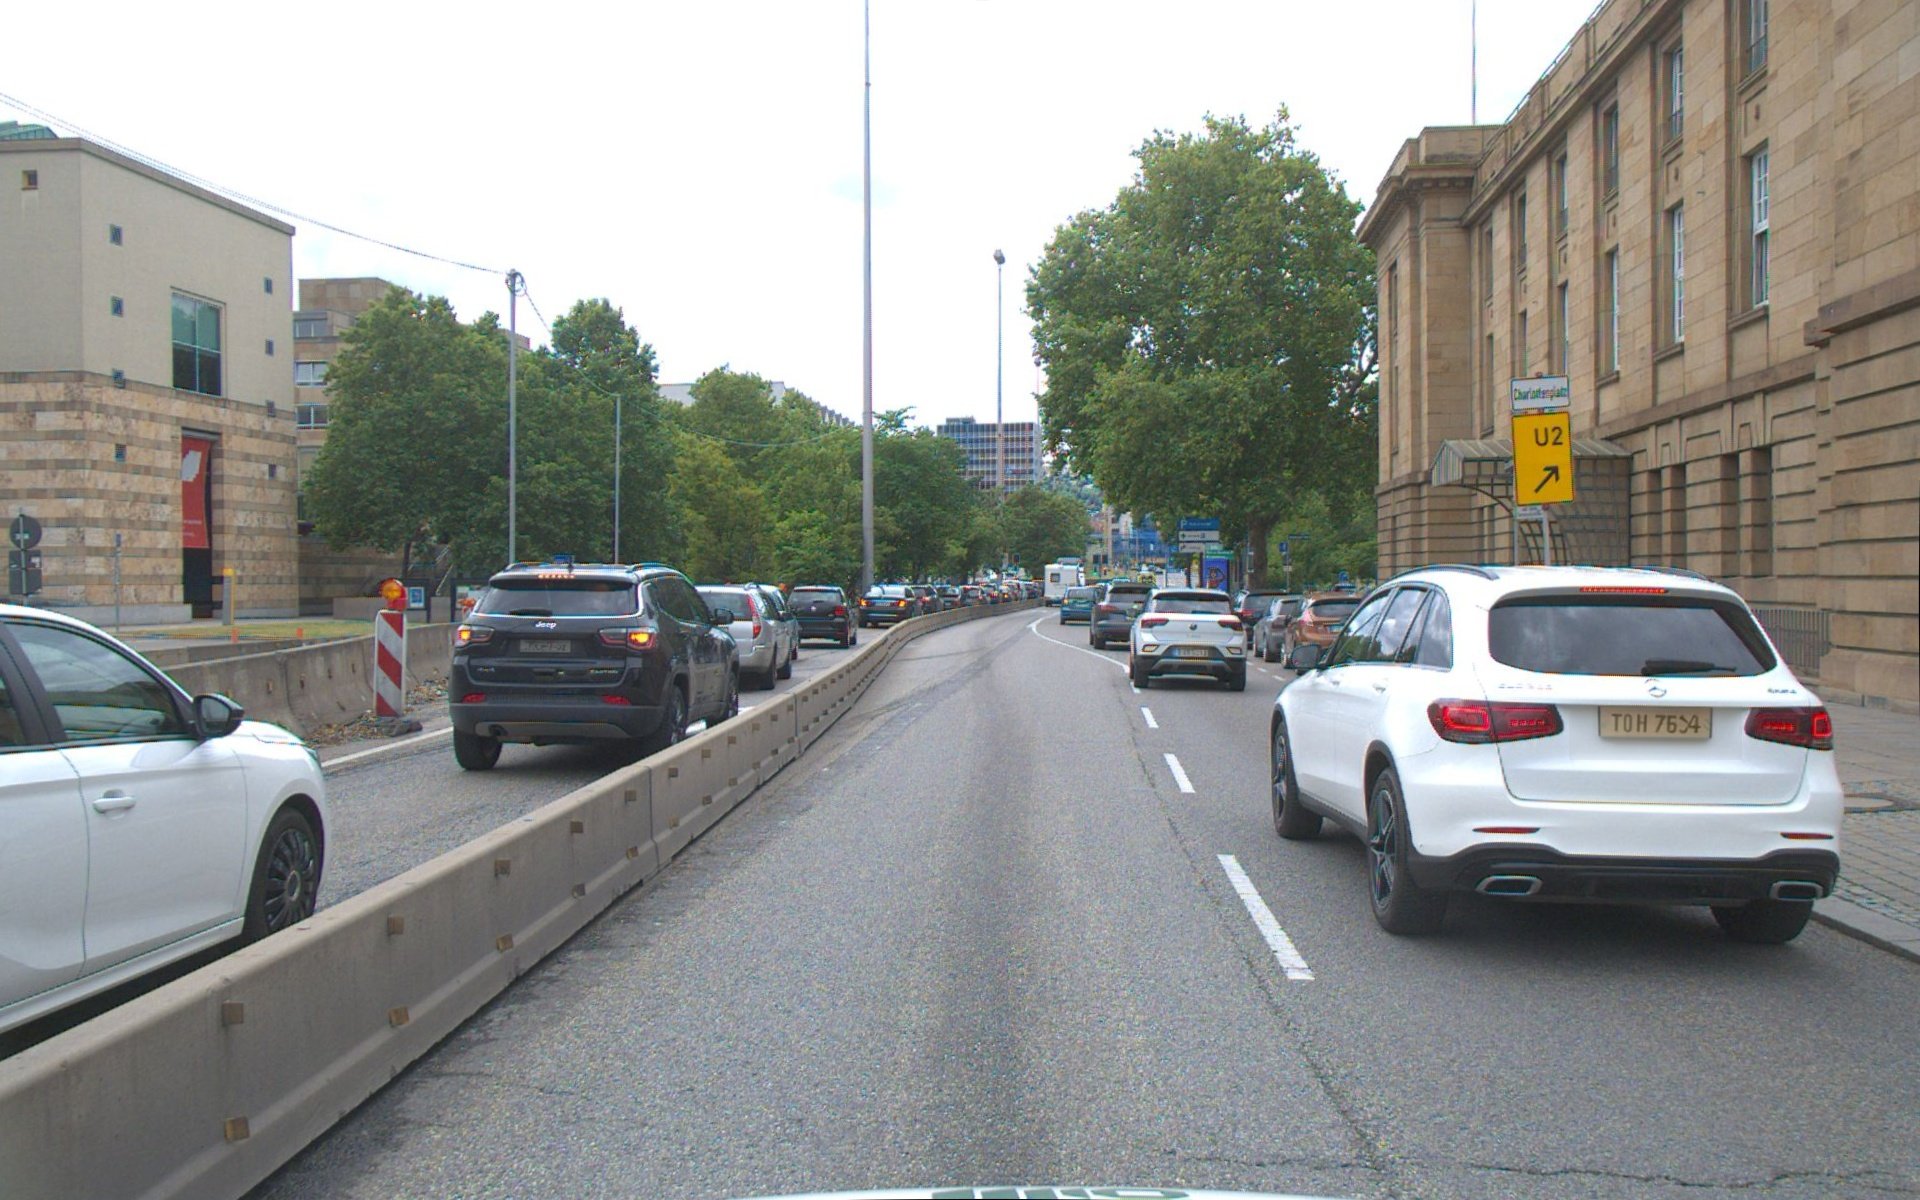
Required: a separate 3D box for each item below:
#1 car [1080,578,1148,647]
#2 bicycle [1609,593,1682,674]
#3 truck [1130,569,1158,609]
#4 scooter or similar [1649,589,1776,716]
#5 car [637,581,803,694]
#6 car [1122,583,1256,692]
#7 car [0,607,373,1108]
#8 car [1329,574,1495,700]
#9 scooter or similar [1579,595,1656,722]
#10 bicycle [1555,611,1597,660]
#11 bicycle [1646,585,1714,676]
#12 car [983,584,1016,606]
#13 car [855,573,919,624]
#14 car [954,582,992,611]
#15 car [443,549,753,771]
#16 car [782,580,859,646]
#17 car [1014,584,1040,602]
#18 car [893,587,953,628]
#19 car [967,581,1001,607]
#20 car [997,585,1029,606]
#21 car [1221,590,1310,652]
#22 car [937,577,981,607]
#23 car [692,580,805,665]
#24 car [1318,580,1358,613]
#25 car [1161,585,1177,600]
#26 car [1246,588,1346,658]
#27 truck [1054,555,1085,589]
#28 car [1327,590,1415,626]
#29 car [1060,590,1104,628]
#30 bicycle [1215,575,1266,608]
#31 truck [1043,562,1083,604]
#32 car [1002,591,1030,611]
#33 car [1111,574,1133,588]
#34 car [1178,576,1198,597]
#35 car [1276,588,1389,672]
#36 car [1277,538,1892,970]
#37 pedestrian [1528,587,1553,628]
[{"bbox_3d":[3.888,0.290,42.066,1.624,1.668,3.549,0,0,4],"label":"car"},{"bbox_3d":[10.963,0.517,26.507,0.543,1.238,1.917,0,0,6],"label":"bicycle"},{"bbox_3d":[20.076,-1.208,180.615,2.816,4.174,6.642,1,1,6],"label":"truck"},{"bbox_3d":[7.847,0.541,17.303,0.443,1.275,1.364,0,-1,-15],"label":"scooter or similar"},{"bbox_3d":[-3.493,0.500,24.900,1.840,1.507,4.704,1,0,-1],"label":"car"},{"bbox_3d":[3.634,0.544,26.815,1.758,1.636,3.756,0,0,2],"label":"car"},{"bbox_3d":[-3.428,0.704,5.186,1.690,1.319,3.935,1,0,1],"label":"car"},{"bbox_3d":[6.351,0.474,23.594,1.513,1.579,3.710,-3,0,4],"label":"car"},{"bbox_3d":[6.946,0.591,17.512,0.371,1.283,1.404,0,0,5],"label":"scooter or similar"},{"bbox_3d":[11.392,0.643,30.602,0.299,0.859,1.880,0,0,7],"label":"bicycle"},{"bbox_3d":[10.724,0.434,24.673,0.403,1.310,1.791,0,0,6],"label":"bicycle"},{"bbox_3d":[2.444,-0.317,102.387,1.624,1.342,3.550,1,0,8],"label":"car"},{"bbox_3d":[-2.469,-0.061,57.197,1.884,1.664,4.937,1,0,1],"label":"car"},{"bbox_3d":[0.702,-0.174,86.300,1.626,1.461,3.963,1,0,6],"label":"car"},{"bbox_3d":[-2.983,0.452,14.494,1.739,1.649,4.047,1,0,1],"label":"car"},{"bbox_3d":[-3.332,0.285,40.061,1.626,1.479,4.196,1,0,-2],"label":"car"},{"bbox_3d":[5.142,-0.556,126.942,1.624,1.342,3.550,1,0,7],"label":"car"},{"bbox_3d":[-1.422,0.271,65.158,1.778,1.525,4.772,0,0,6],"label":"car"},{"bbox_3d":[1.396,-0.378,94.859,1.738,1.445,4.002,0,1,4],"label":"car"},{"bbox_3d":[3.439,-0.280,107.419,1.624,1.342,3.550,1,0,9],"label":"car"},{"bbox_3d":[7.879,0.504,43.011,1.750,1.512,4.328,1,0,3],"label":"car"},{"bbox_3d":[-0.019,-0.386,77.897,1.642,1.390,4.546,0,1,6],"label":"car"},{"bbox_3d":[-4.050,0.402,32.183,1.638,1.533,3.854,1,0,1],"label":"car"},{"bbox_3d":[20.185,-0.193,88.455,1.723,1.578,4.031,0,3,7],"label":"car"},{"bbox_3d":[23.664,-0.849,187.248,1.721,1.698,4.171,0,1,7],"label":"car"},{"bbox_3d":[7.390,0.479,36.691,1.672,1.451,3.999,-1,0,5],"label":"car"},{"bbox_3d":[10.305,-2.609,155.604,2.635,3.044,5.641,2,0,5],"label":"truck"},{"bbox_3d":[18.855,0.366,76.003,3.754,1.596,1.680,0,0,6],"label":"car"},{"bbox_3d":[4.863,0.337,65.593,1.624,1.438,3.550,1,0,6],"label":"car"},{"bbox_3d":[9.737,-0.290,57.404,1.692,1.110,0.381,2,0,19],"label":"bicycle"},{"bbox_3d":[7.485,-1.219,119.308,2.565,2.911,7.083,1,1,5],"label":"truck"},{"bbox_3d":[3.958,0.081,116.588,1.624,1.342,3.550,1,0,7],"label":"car"},{"bbox_3d":[15.346,-1.791,156.453,1.905,1.342,4.020,1,0,7],"label":"car"},{"bbox_3d":[23.303,-1.389,169.149,1.951,2.049,4.003,1,0,7],"label":"car"},{"bbox_3d":[7.023,0.531,31.468,1.581,1.480,3.861,-1,0,5],"label":"car"},{"bbox_3d":[2.818,0.581,8.579,1.750,1.653,4.439,0,0,3],"label":"car"},{"bbox_3d":[12.619,0.165,35.944,0.420,0.889,0.373,2,0,7],"label":"pedestrian"}]
